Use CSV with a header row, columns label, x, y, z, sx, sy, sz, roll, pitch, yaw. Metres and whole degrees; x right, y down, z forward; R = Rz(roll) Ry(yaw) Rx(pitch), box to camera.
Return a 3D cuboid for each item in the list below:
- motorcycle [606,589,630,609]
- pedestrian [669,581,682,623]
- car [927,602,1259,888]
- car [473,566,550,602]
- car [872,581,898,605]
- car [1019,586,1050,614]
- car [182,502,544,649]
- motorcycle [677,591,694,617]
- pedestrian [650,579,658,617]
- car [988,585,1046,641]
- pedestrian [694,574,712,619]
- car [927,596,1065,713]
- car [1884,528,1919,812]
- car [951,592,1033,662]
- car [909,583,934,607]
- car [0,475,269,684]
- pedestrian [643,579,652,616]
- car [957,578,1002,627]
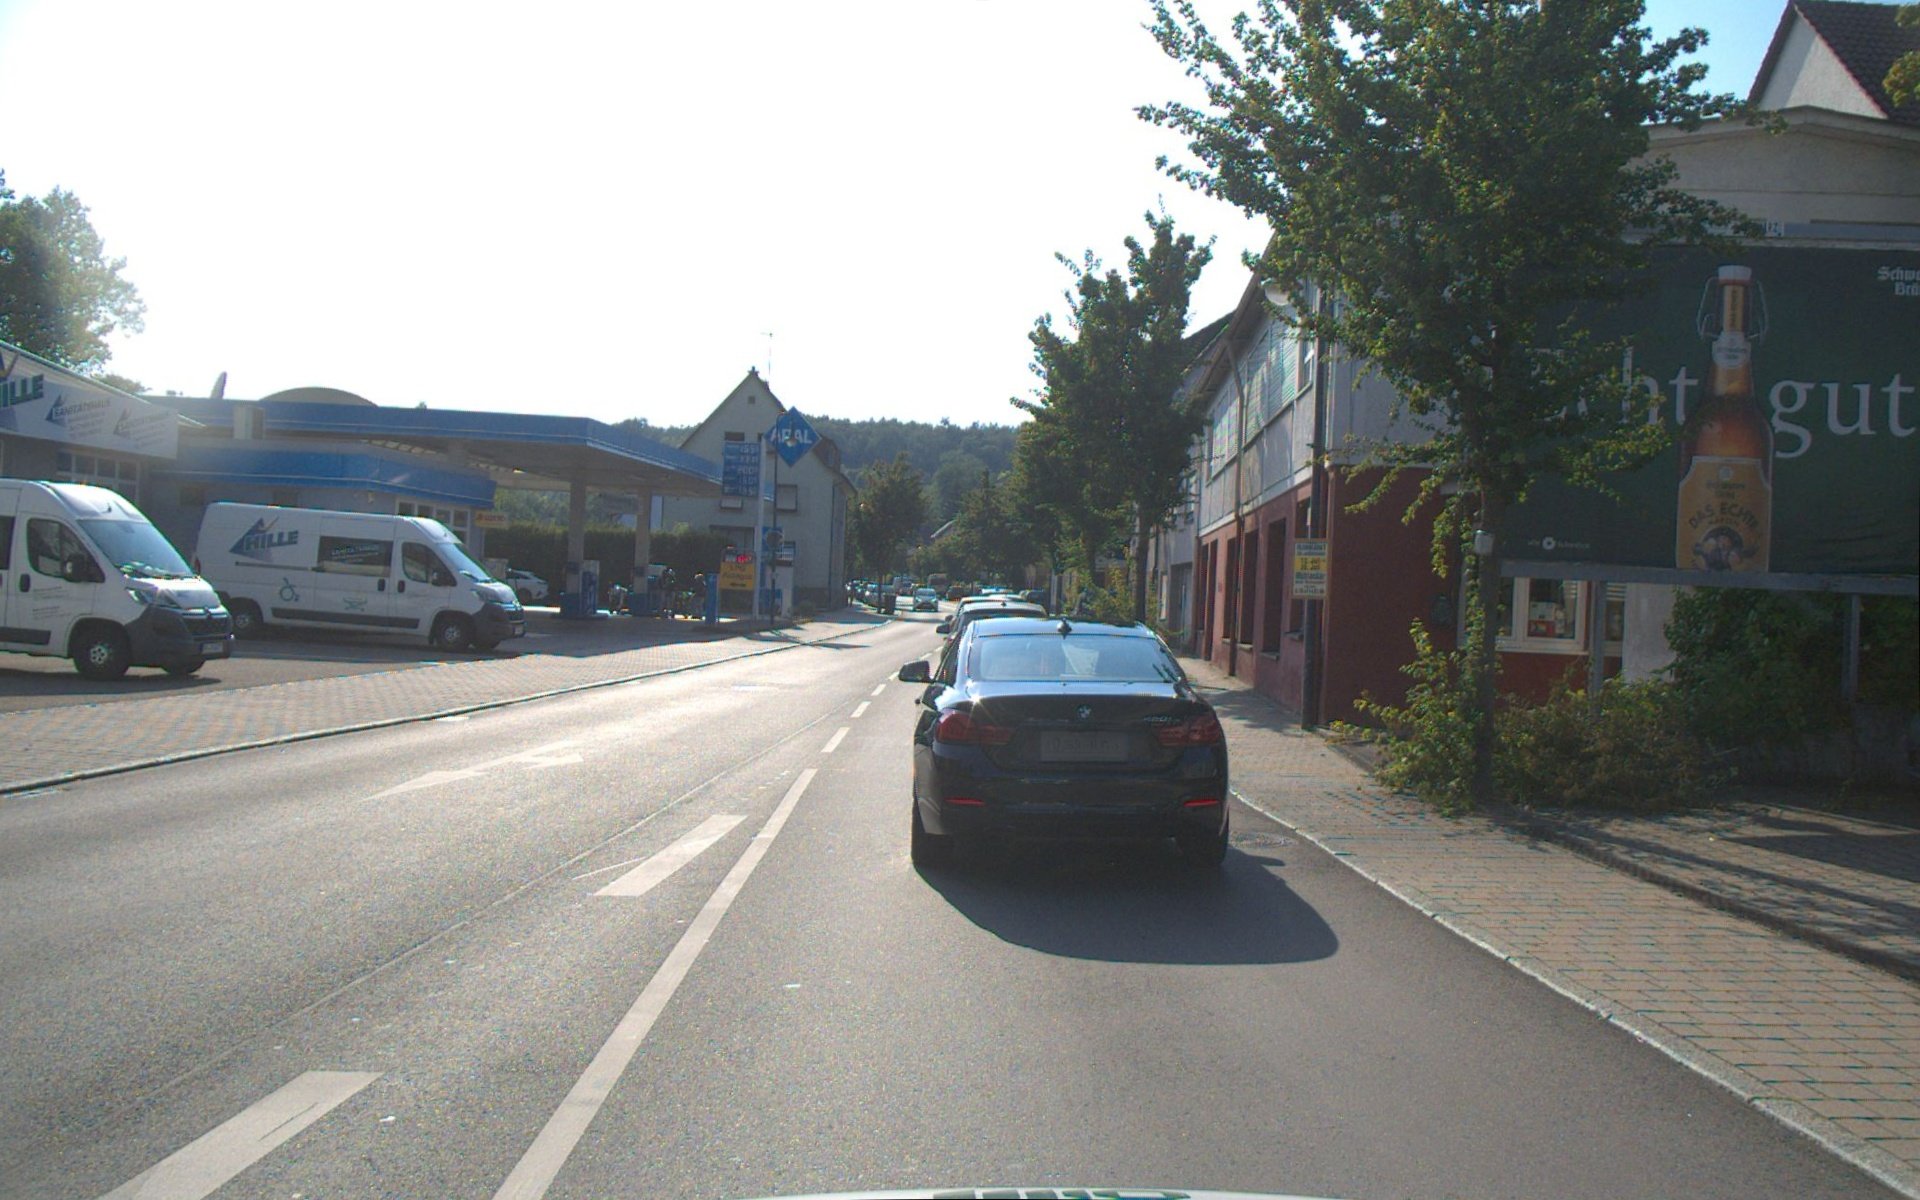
label,x,y,z,sx,sy,sz,roll,pitch,yaw
motorcycle,-12.978,-0.045,62.781,0.449,0.742,1.475,1,1,7
pedestrian,-10.798,0.083,62.781,0.399,1.574,0.432,1,0,-3
car,0.640,0.745,10.589,1.665,1.393,4.261,1,1,-2
car,-19.175,-0.682,70.708,3.103,1.452,1.432,1,0,-19
car,-4.942,-0.495,109.656,1.564,1.511,3.474,2,1,-1
car,4.377,-0.004,97.227,1.564,1.511,3.474,2,1,-1
car,-11.355,-0.462,31.775,6.032,2.487,2.250,2,0,0
motorcycle,-10.329,0.140,62.245,0.356,0.960,1.695,1,1,-1
pedestrian,-11.516,-0.083,62.284,0.257,1.407,0.287,1,0,-12
car,1.727,0.358,51.319,1.559,1.628,3.892,1,1,-1
pedestrian,-9.745,-0.129,62.659,0.598,1.699,0.442,1,0,-3
car,0.590,0.713,23.623,1.734,1.481,3.517,2,0,4
car,8.301,0.520,10.909,3.527,1.927,1.586,1,0,-3
car,0.738,0.569,37.165,1.717,1.438,3.422,1,1,2
car,-2.487,-0.328,107.636,1.564,1.511,3.474,2,1,-1
car,-12.564,-0.348,21.994,5.795,2.523,2.195,2,1,5
pedestrian,-11.655,-0.095,61.745,0.281,1.390,0.262,1,0,-4
car,0.771,0.065,63.876,1.569,1.798,3.412,1,1,3
